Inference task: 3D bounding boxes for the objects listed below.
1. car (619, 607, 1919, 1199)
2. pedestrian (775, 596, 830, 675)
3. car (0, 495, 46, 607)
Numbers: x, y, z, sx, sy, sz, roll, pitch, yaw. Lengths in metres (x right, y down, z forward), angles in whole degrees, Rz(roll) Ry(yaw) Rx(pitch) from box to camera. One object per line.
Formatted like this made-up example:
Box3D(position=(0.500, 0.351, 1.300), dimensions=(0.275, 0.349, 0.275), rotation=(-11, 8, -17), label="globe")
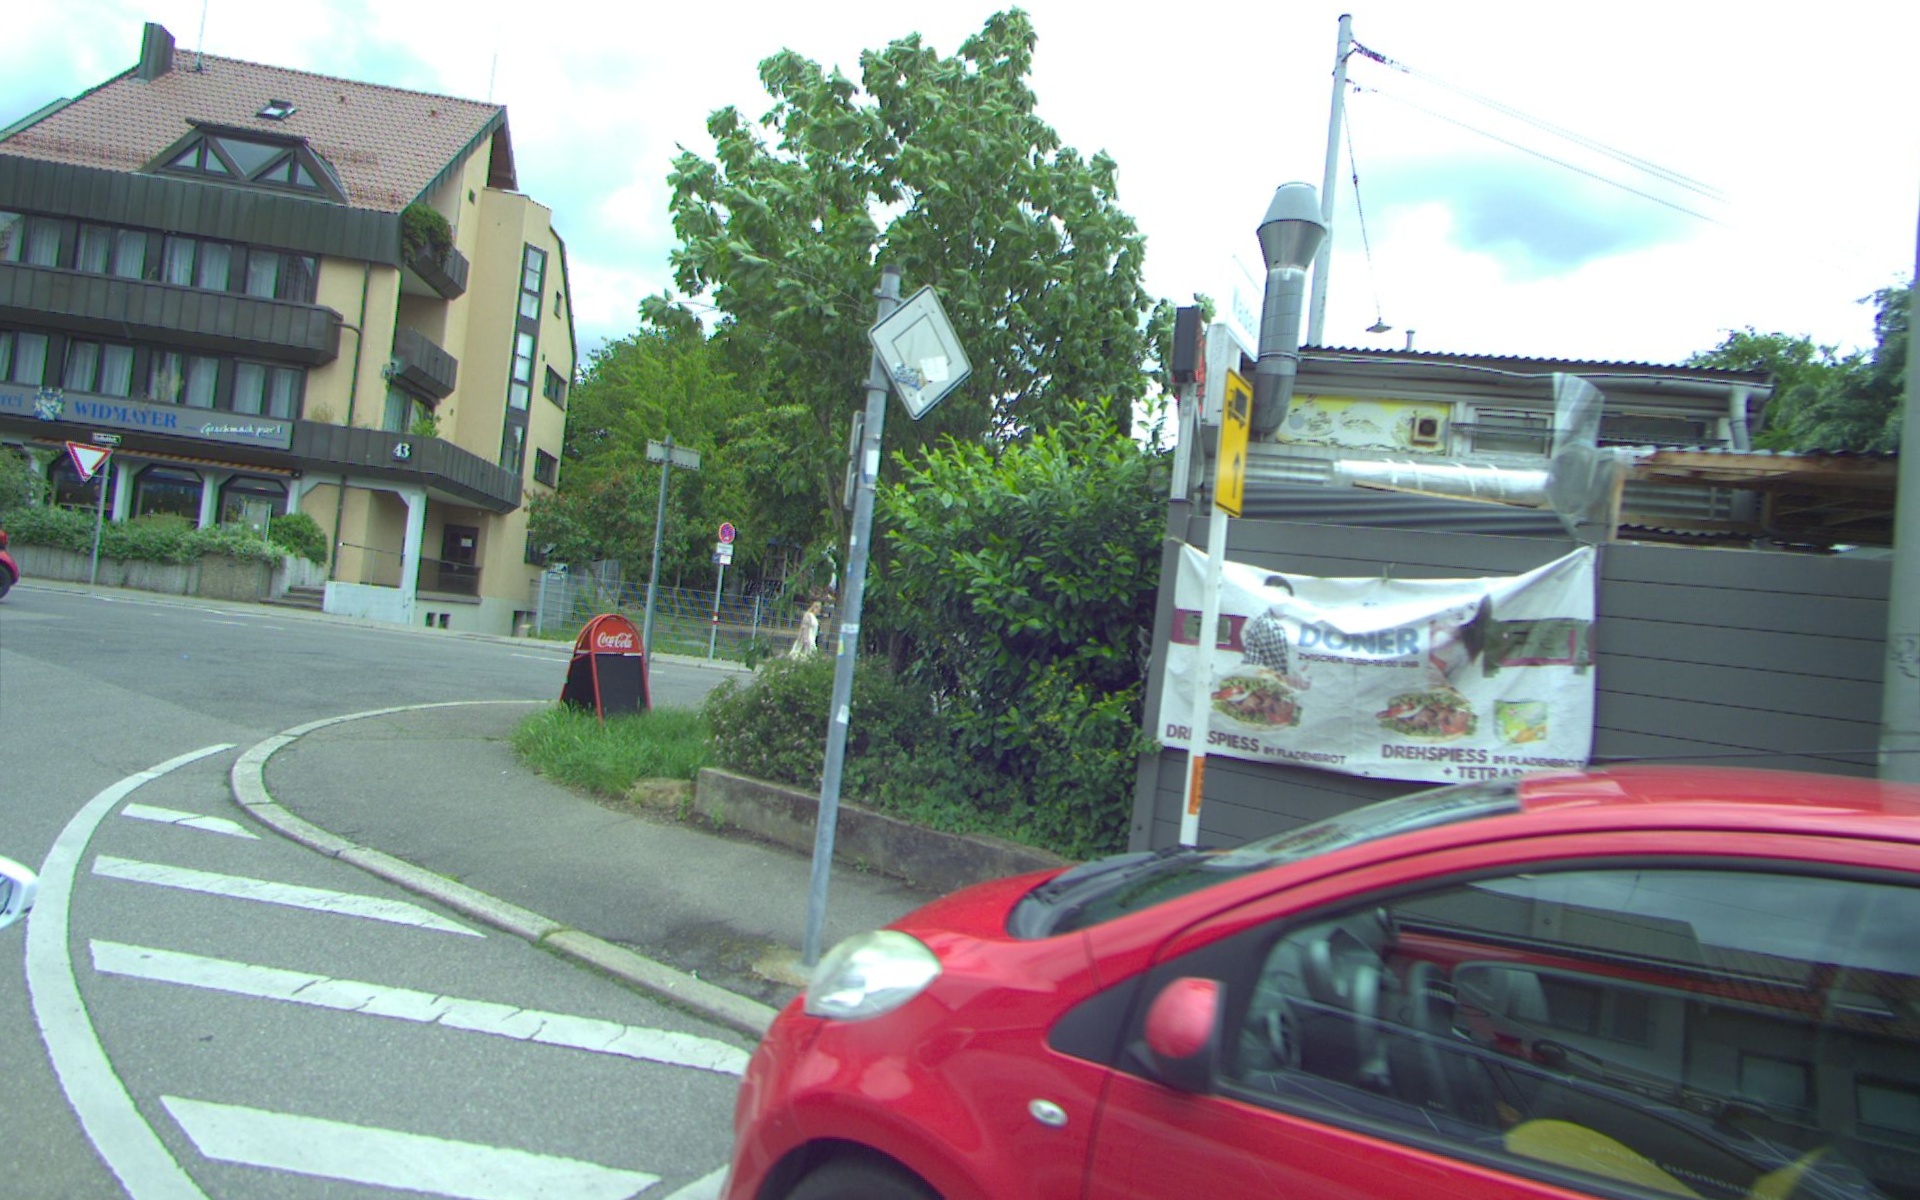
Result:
Box3D(position=(1.463, 1.022, 1.728), dimensions=(3.934, 1.498, 1.717), rotation=(7, -1, 32), label="car")
Box3D(position=(-3.393, 0.765, 21.791), dimensions=(0.943, 1.554, 0.900), rotation=(7, -1, -6), label="pedestrian")
Box3D(position=(-14.607, -0.865, 13.449), dimensions=(1.786, 1.538, 2.940), rotation=(7, -1, 21), label="car")
